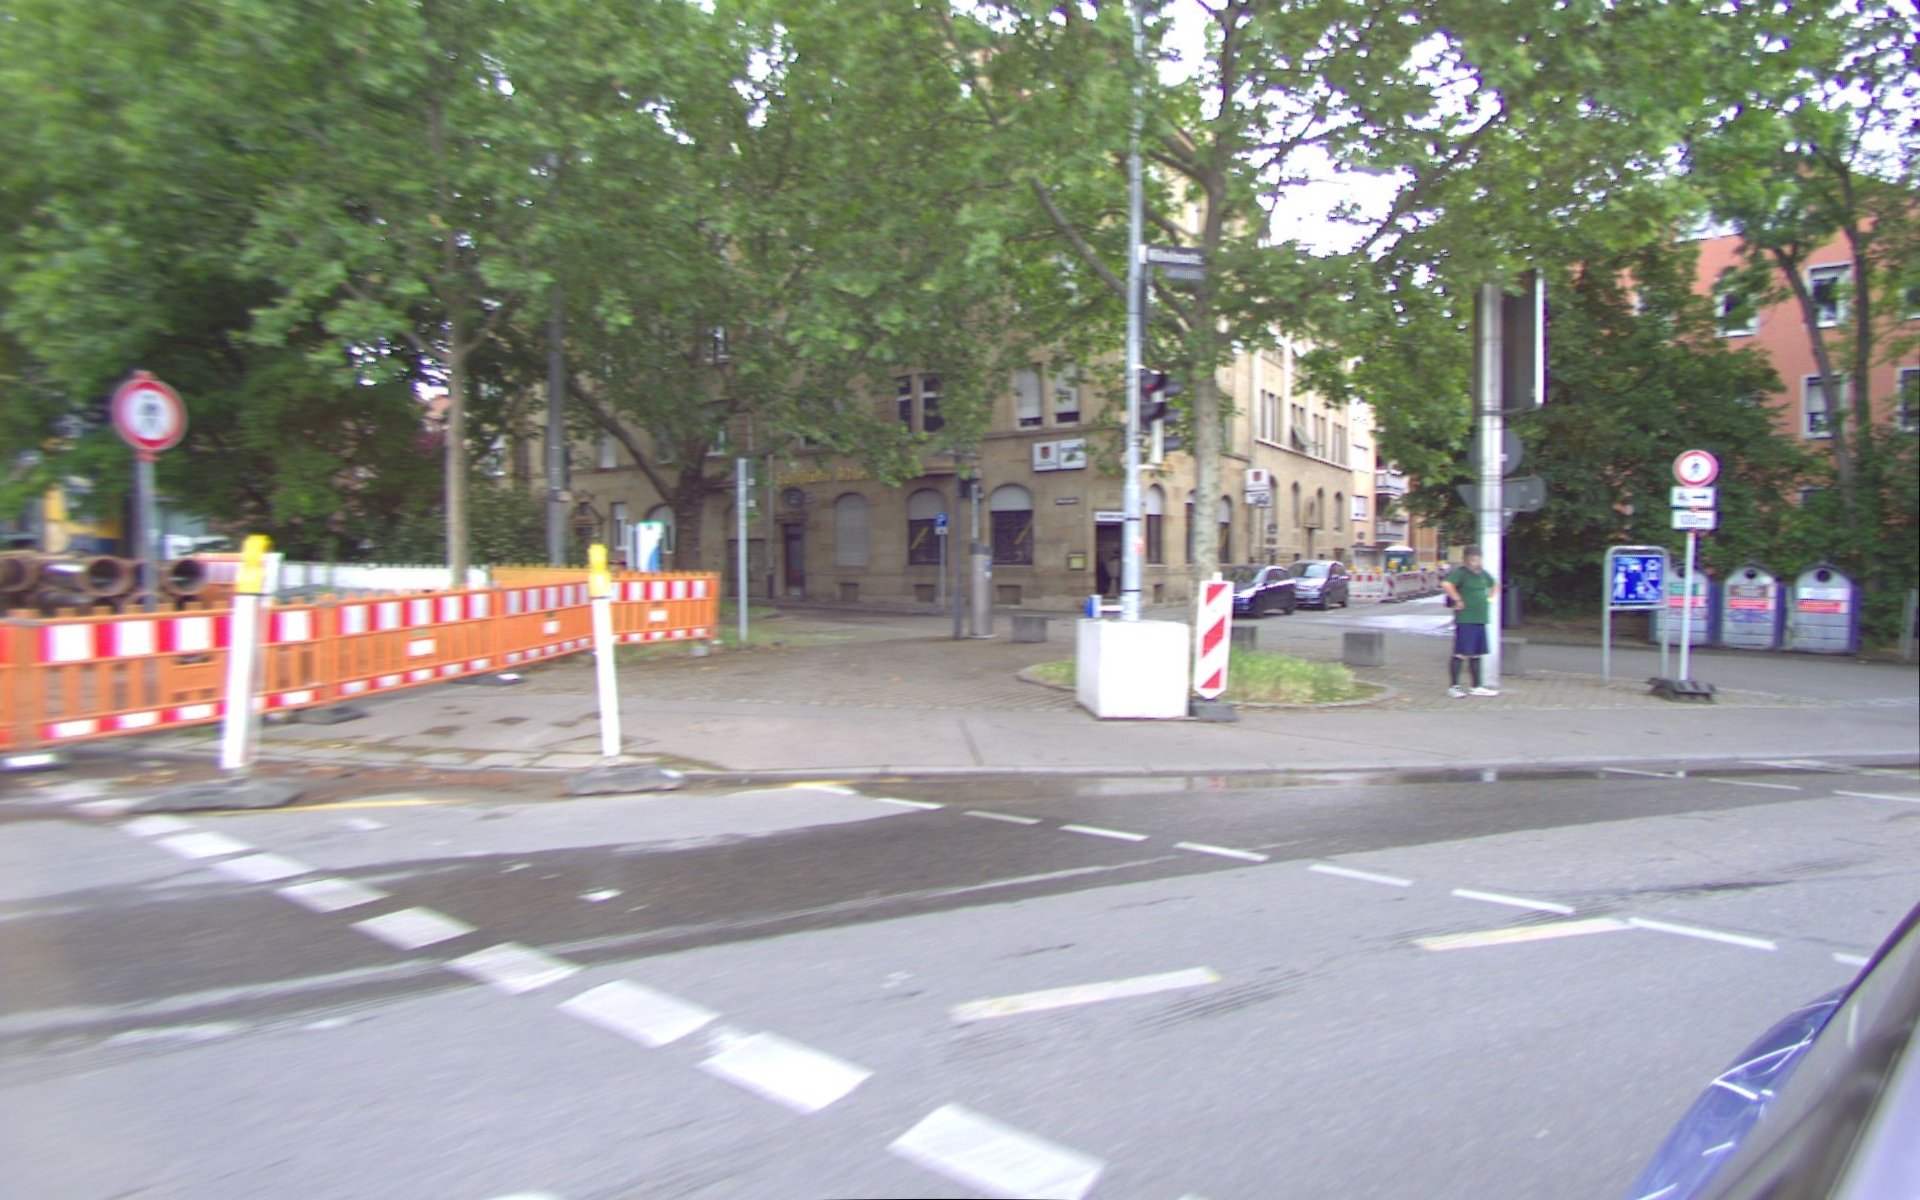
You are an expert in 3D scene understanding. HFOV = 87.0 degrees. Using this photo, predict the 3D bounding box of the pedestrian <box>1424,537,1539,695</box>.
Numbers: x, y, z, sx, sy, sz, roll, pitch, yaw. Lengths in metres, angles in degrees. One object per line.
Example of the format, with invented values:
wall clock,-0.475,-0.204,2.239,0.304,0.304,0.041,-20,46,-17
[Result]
pedestrian,5.942,0.159,11.556,0.820,1.718,0.735,0,3,-21

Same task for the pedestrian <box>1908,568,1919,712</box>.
pedestrian,10.509,0.278,10.368,0.712,1.852,0.784,0,4,-12

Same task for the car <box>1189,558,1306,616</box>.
car,8.265,-0.431,28.866,1.724,1.481,4.033,4,4,39

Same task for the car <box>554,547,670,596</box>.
car,-13.319,-1.133,38.674,4.378,1.732,1.977,2,4,34

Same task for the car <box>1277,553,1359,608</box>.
car,11.931,-0.705,33.603,1.610,1.608,3.953,2,5,34
